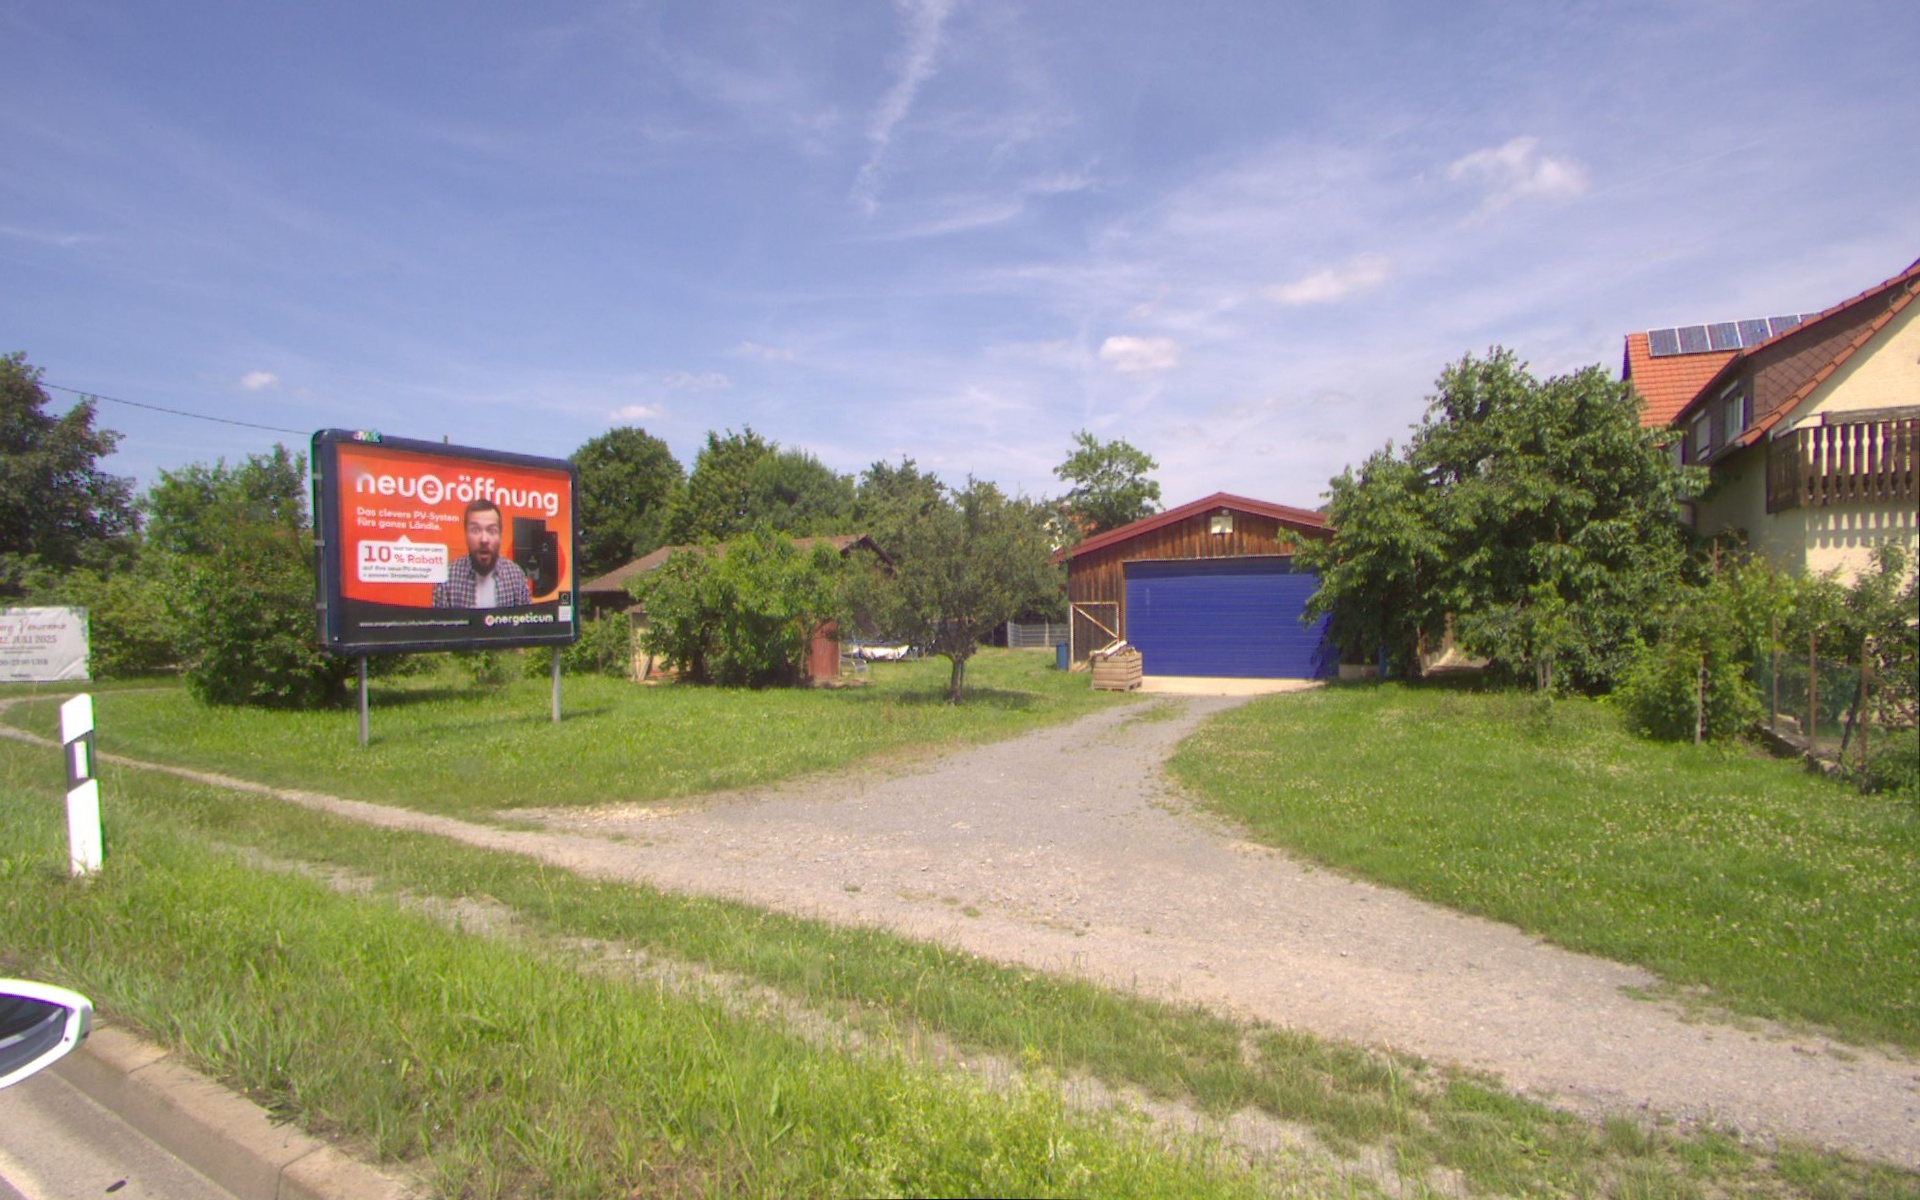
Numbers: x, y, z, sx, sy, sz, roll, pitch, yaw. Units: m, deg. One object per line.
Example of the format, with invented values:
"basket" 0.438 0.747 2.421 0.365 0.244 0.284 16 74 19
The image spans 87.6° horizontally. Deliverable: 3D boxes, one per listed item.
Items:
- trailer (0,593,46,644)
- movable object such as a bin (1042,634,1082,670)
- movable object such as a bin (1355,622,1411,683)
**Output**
"trailer" -94.090 1.745 97.466 5.129 4.688 15.794 1 -1 -34
"movable object such as a bin" 3.097 1.571 30.333 1.044 1.046 1.040 0 -1 17
"movable object such as a bin" 10.261 1.250 24.286 1.049 1.415 1.271 0 -1 33
